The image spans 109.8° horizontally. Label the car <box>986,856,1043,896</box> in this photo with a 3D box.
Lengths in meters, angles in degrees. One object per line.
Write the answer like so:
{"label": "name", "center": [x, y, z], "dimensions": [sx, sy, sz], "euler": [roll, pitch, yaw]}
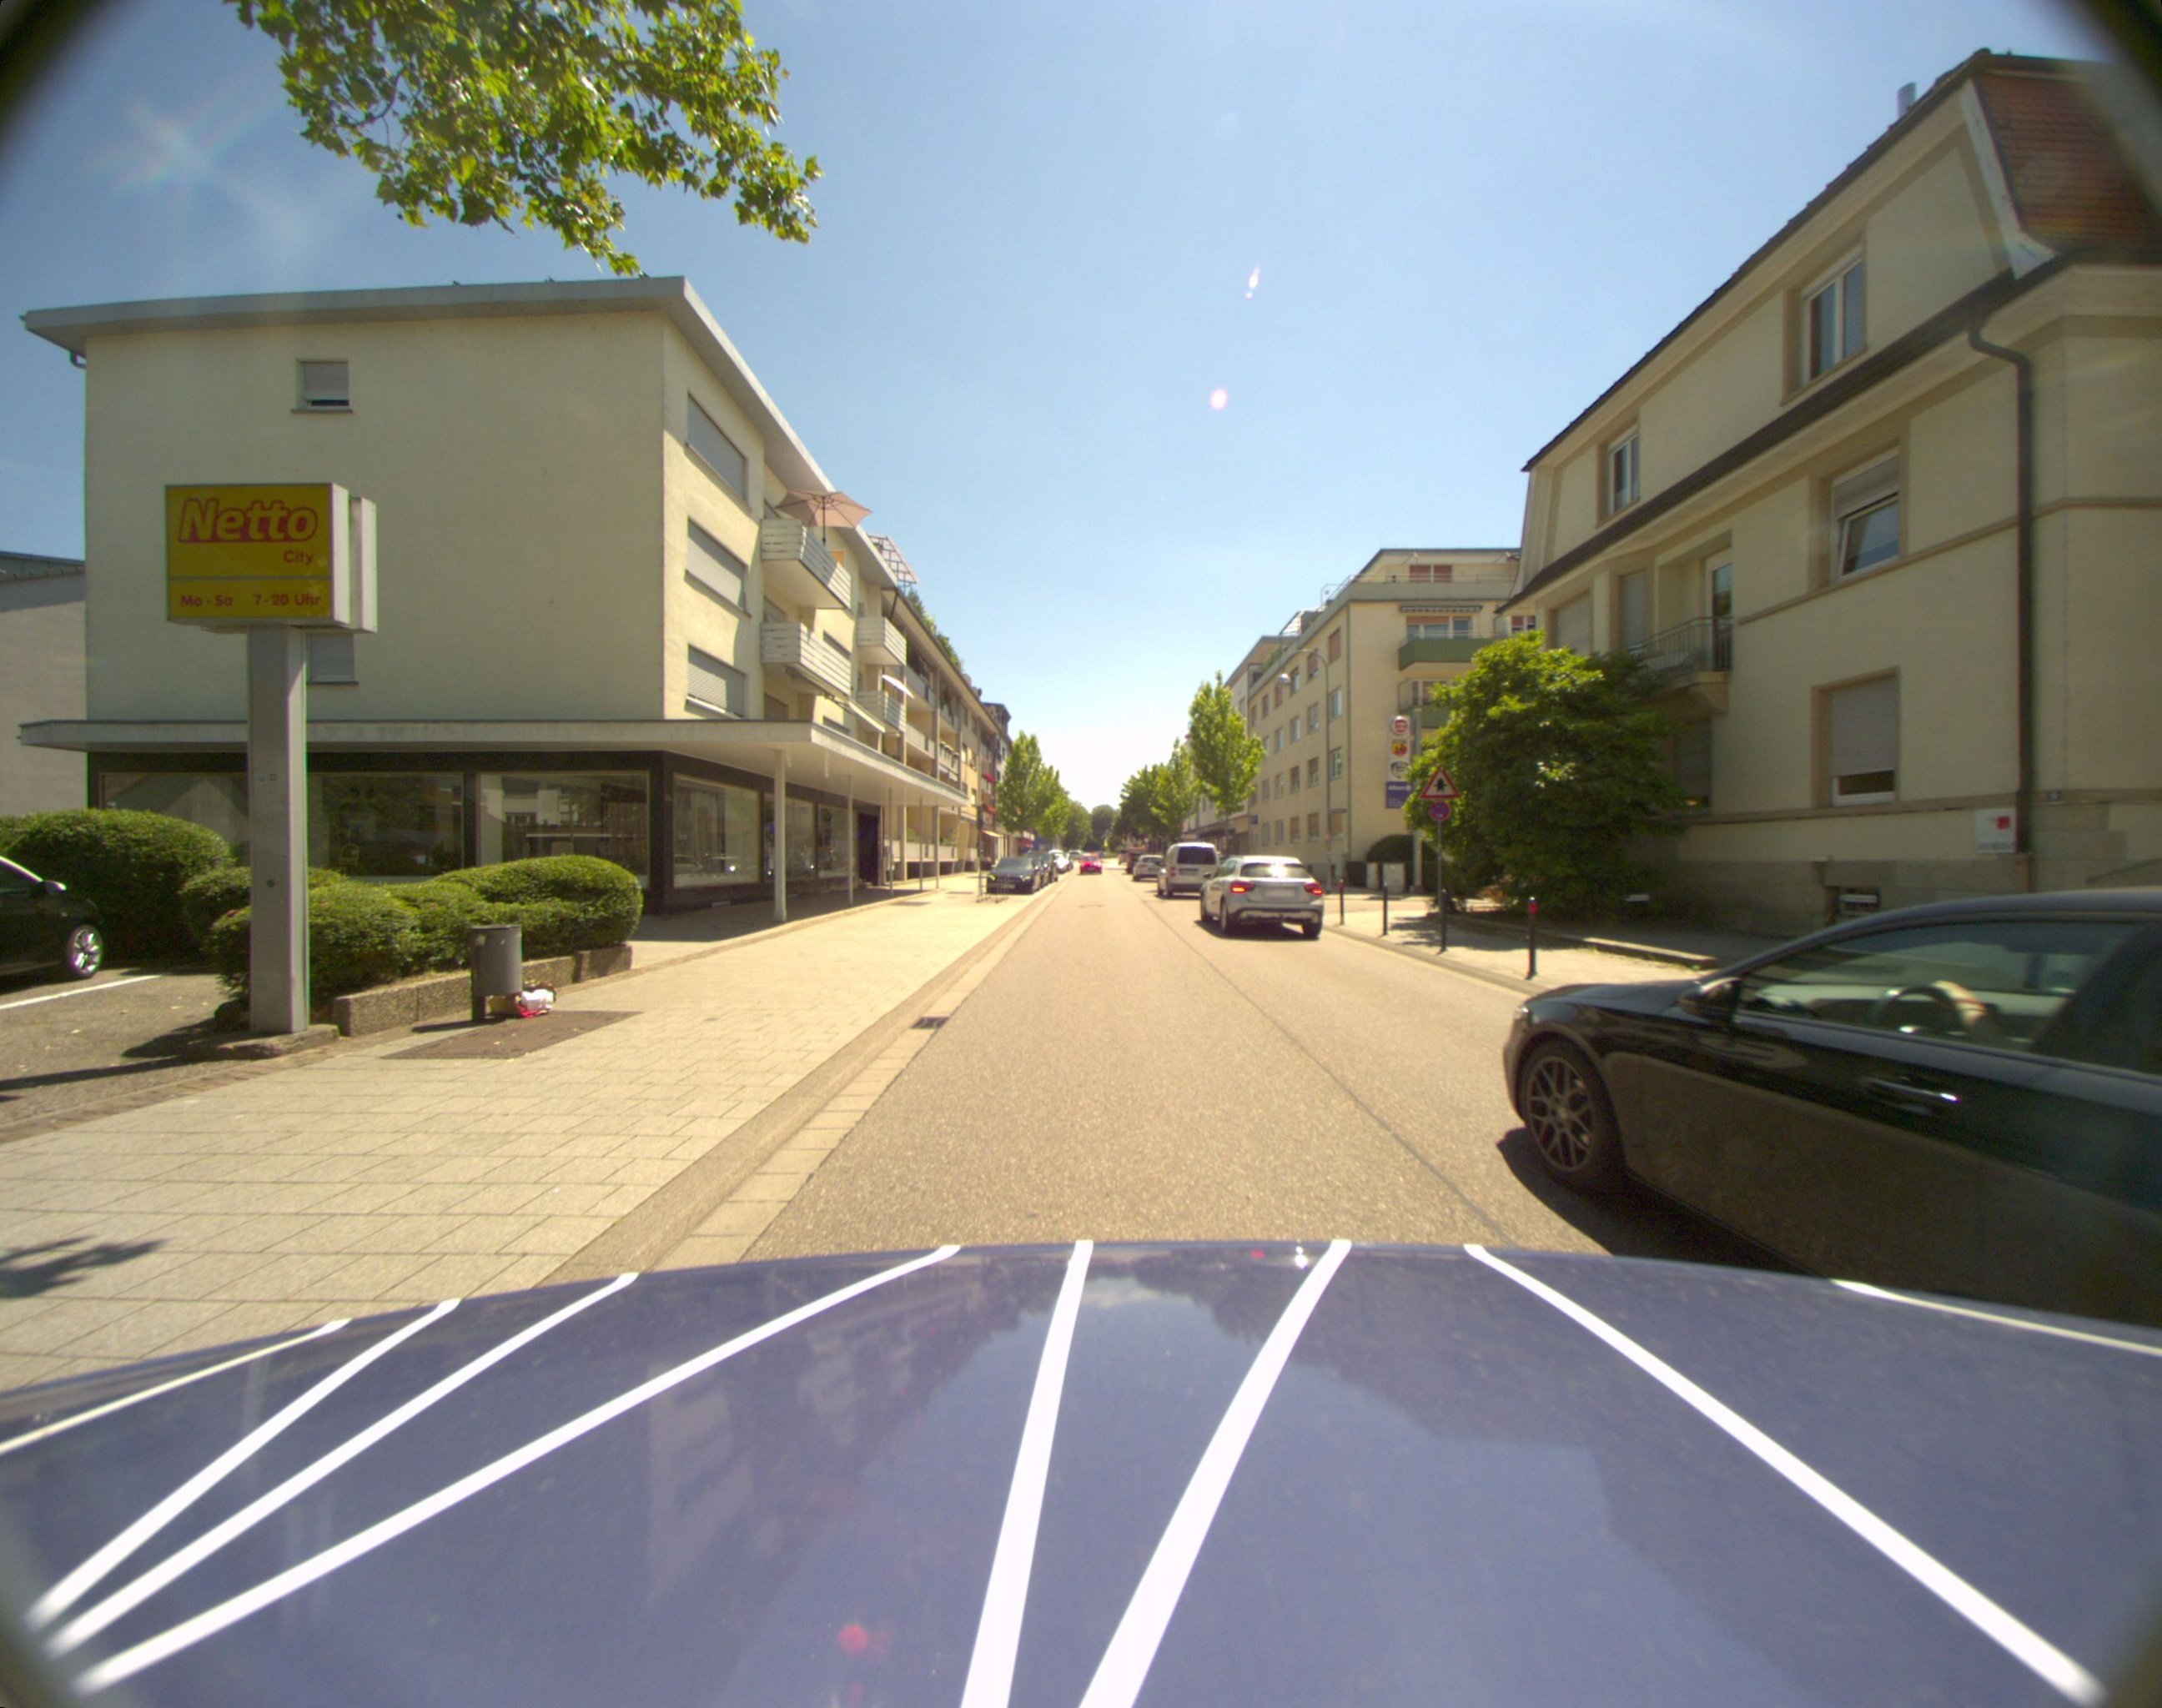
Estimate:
{"label": "car", "center": [-2.555, 0.812, 30.090], "dimensions": [1.818, 1.379, 4.114], "euler": [3, 0, 1]}

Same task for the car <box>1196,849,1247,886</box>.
{"label": "car", "center": [6.798, 0.621, 37.084], "dimensions": [1.731, 1.661, 4.294], "euler": [-1, 0, 1]}

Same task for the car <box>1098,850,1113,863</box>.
{"label": "car", "center": [3.071, 0.280, 95.871], "dimensions": [1.698, 1.594, 3.812], "euler": [0, 0, 0]}

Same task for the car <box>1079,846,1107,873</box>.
{"label": "car", "center": [0.895, 0.399, 58.699], "dimensions": [2.000, 1.880, 4.294], "euler": [-2, 0, 1]}

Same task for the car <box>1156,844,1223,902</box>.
{"label": "car", "center": [3.651, 0.587, 26.288], "dimensions": [1.706, 1.815, 4.231], "euler": [1, 0, 1]}

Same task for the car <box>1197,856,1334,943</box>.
{"label": "car", "center": [3.579, 0.816, 15.502], "dimensions": [1.834, 1.502, 4.031], "euler": [0, 0, 1]}

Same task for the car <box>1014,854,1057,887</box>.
{"label": "car", "center": [-2.126, 0.740, 36.478], "dimensions": [1.731, 1.499, 4.114], "euler": [0, 0, 1]}

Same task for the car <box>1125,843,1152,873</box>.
{"label": "car", "center": [4.417, 0.278, 58.810], "dimensions": [1.731, 2.154, 4.294], "euler": [1, 0, 1]}

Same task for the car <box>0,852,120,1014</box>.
{"label": "car", "center": [-10.793, 0.734, 6.661], "dimensions": [1.740, 1.491, 3.454], "euler": [0, 1, -30]}

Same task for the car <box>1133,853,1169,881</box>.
{"label": "car", "center": [3.964, 0.715, 43.722], "dimensions": [1.731, 1.500, 4.294], "euler": [1, 0, 1]}

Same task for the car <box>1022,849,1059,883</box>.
{"label": "car", "center": [-2.154, 0.597, 41.451], "dimensions": [1.731, 1.752, 4.115], "euler": [0, 0, 1]}

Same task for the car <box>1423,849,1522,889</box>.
{"label": "car", "center": [15.689, 0.551, 30.687], "dimensions": [1.751, 1.499, 3.748], "euler": [0, 0, -7]}

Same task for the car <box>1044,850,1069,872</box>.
{"label": "car", "center": [-1.908, 0.499, 59.930], "dimensions": [1.731, 1.680, 4.114], "euler": [0, 0, 1]}

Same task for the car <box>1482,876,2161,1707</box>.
{"label": "car", "center": [2.935, 0.923, 1.689], "dimensions": [1.834, 1.502, 4.261], "euler": [1, 1, 1]}

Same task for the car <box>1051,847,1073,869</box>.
{"label": "car", "center": [-1.640, 0.319, 65.338], "dimensions": [1.731, 1.861, 4.114], "euler": [0, 0, 1]}

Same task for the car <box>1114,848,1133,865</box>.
{"label": "car", "center": [4.894, 0.233, 88.844], "dimensions": [2.000, 1.880, 4.294], "euler": [1, 0, 1]}
